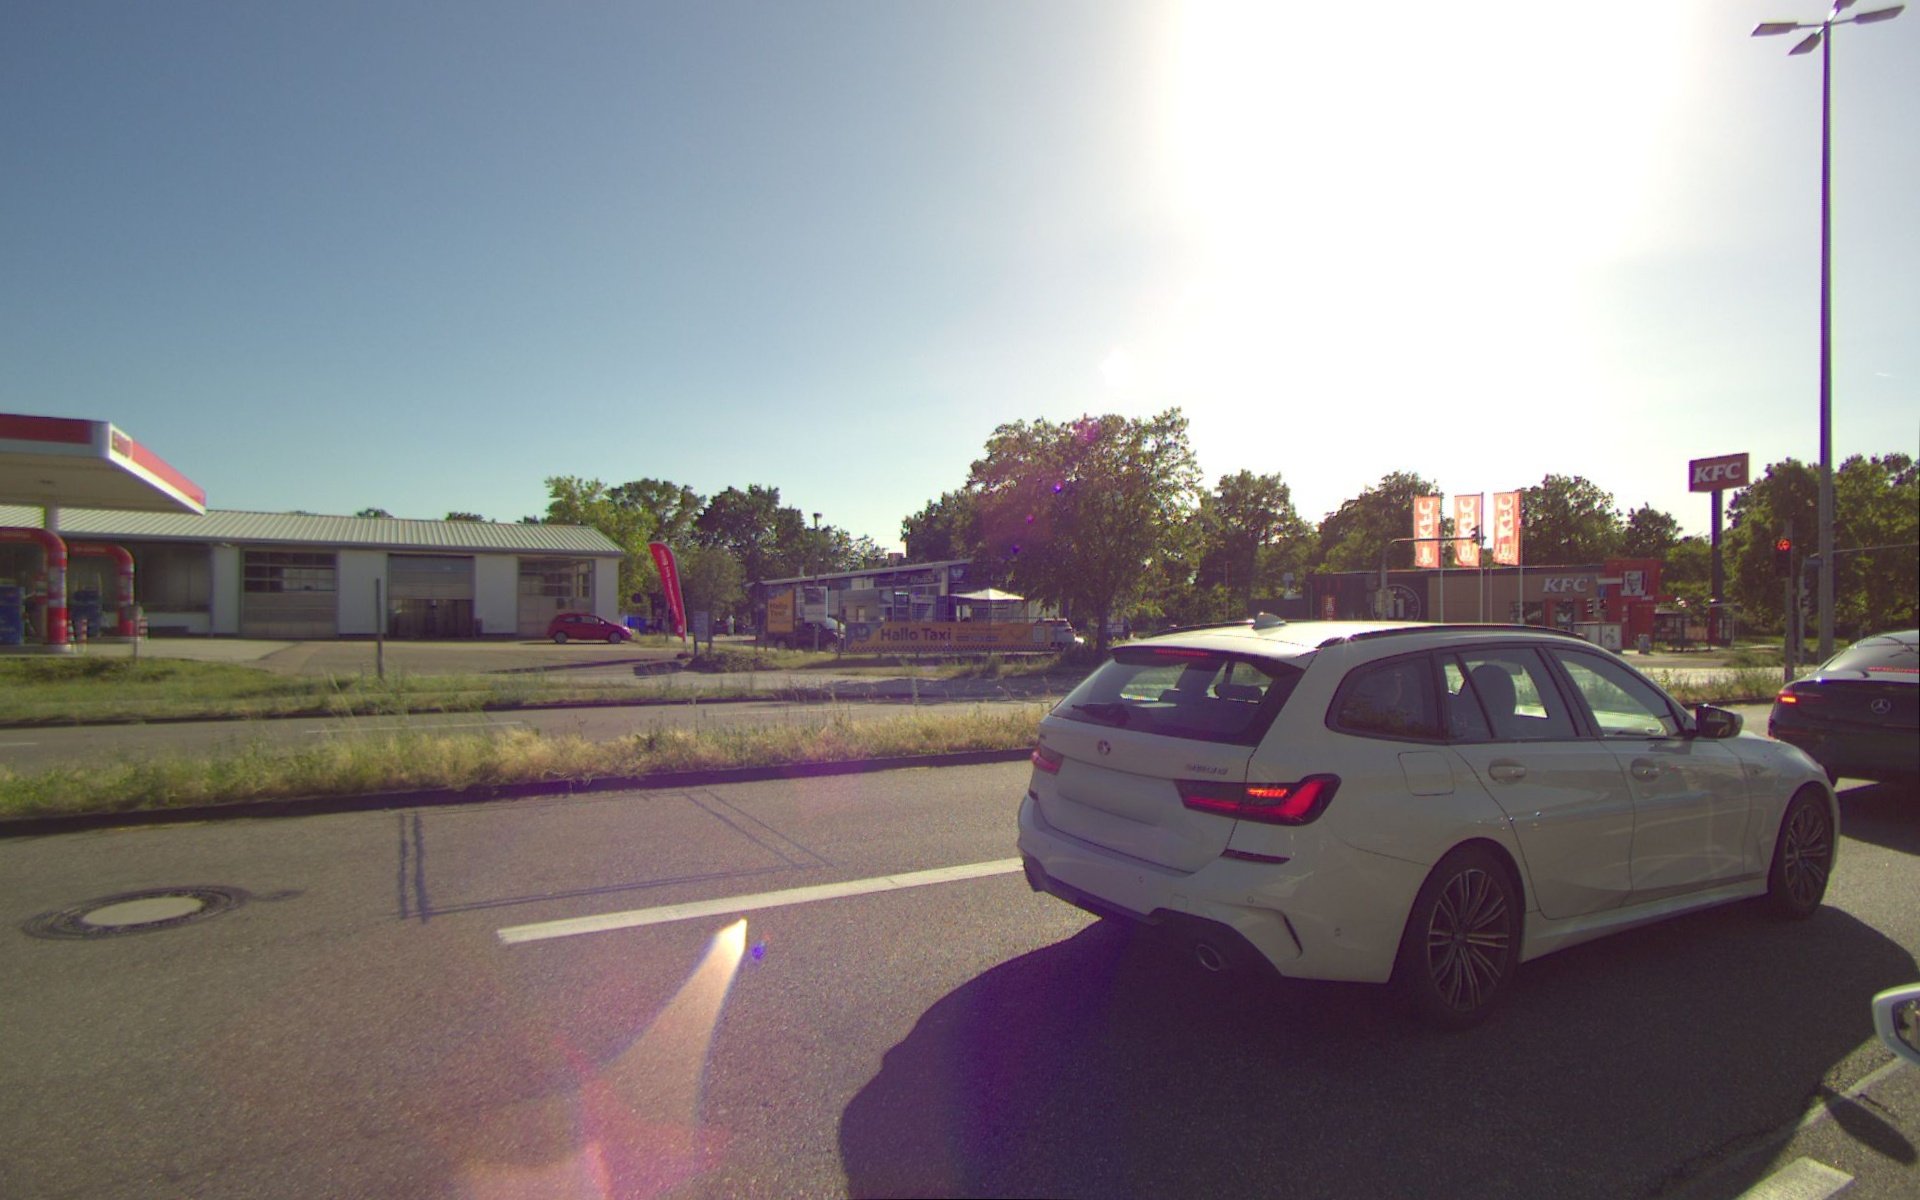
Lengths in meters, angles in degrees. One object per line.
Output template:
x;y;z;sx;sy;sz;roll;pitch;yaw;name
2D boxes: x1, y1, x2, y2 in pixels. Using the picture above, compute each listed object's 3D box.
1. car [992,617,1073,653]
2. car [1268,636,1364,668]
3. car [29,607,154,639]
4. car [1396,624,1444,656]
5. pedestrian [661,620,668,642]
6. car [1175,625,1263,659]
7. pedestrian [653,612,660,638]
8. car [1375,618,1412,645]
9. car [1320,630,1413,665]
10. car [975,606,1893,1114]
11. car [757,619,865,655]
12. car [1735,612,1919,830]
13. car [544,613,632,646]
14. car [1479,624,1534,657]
3.227;1.561;45.504;1.974;1.461;3.974;2;0;-26;car
17.037;2.482;48.225;1.850;1.268;4.062;2;0;-31;car
-36.335;0.973;42.135;3.688;1.203;1.667;2;0;-30;car
28.072;2.410;61.384;1.896;1.763;4.099;2;0;14;car
-17.567;1.835;59.748;0.299;1.337;0.311;1;0;0;pedestrian
13.971;2.236;54.444;1.914;1.600;4.599;2;0;-31;car
-18.025;1.473;59.714;0.298;1.531;0.318;1;0;3;pedestrian
31.542;2.286;73.155;1.960;1.837;3.774;2;0;16;car
20.129;2.333;49.876;1.913;1.472;3.935;2;0;-30;car
2.481;0.821;4.922;4.541;1.506;1.804;1;-1;-30;car
-5.804;1.420;39.076;3.930;1.193;1.774;2;0;31;car
8.793;0.930;8.693;4.491;1.572;1.803;1;0;-31;car
-18.259;1.429;49.341;3.949;1.491;1.521;2;0;-24;car
32.712;2.385;60.233;1.896;1.763;4.099;2;0;14;car
